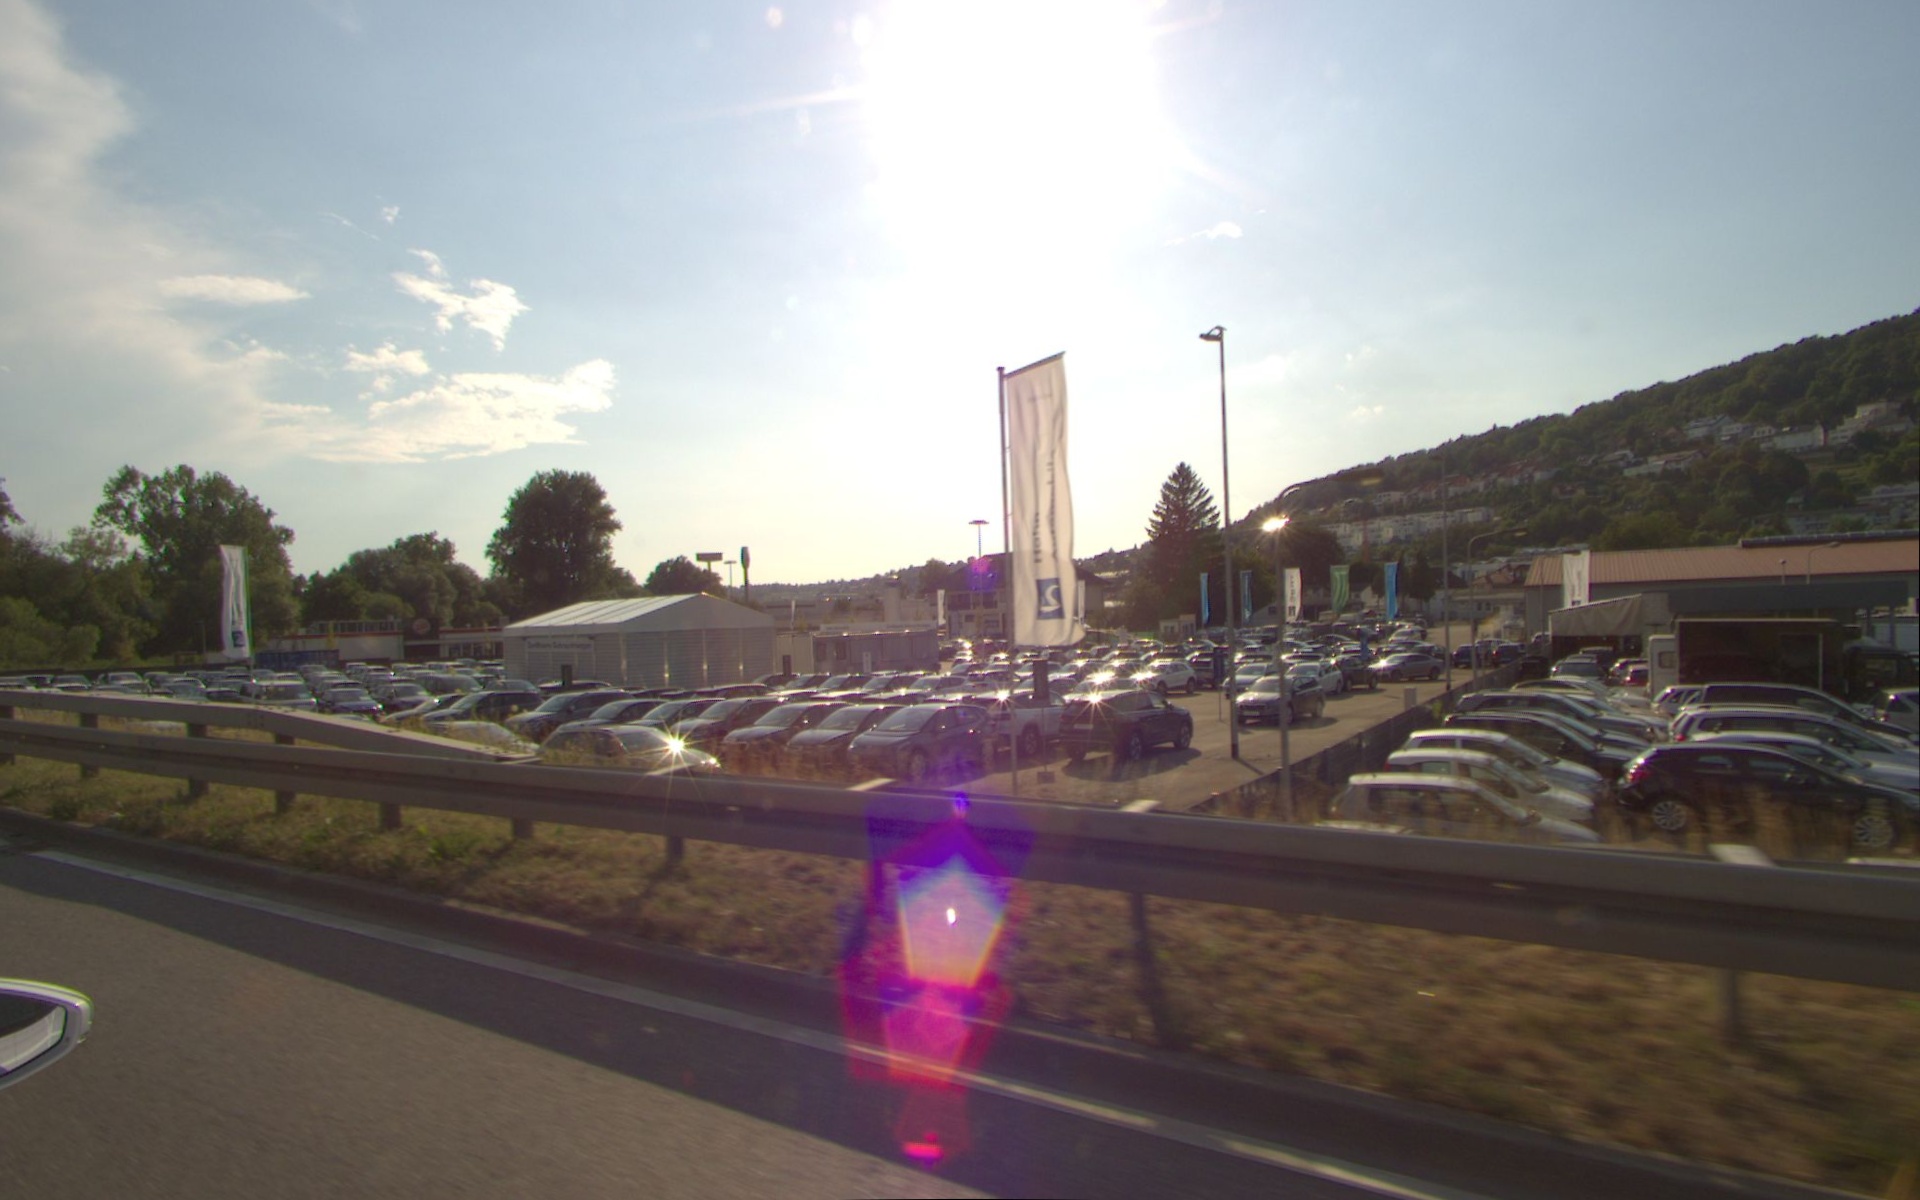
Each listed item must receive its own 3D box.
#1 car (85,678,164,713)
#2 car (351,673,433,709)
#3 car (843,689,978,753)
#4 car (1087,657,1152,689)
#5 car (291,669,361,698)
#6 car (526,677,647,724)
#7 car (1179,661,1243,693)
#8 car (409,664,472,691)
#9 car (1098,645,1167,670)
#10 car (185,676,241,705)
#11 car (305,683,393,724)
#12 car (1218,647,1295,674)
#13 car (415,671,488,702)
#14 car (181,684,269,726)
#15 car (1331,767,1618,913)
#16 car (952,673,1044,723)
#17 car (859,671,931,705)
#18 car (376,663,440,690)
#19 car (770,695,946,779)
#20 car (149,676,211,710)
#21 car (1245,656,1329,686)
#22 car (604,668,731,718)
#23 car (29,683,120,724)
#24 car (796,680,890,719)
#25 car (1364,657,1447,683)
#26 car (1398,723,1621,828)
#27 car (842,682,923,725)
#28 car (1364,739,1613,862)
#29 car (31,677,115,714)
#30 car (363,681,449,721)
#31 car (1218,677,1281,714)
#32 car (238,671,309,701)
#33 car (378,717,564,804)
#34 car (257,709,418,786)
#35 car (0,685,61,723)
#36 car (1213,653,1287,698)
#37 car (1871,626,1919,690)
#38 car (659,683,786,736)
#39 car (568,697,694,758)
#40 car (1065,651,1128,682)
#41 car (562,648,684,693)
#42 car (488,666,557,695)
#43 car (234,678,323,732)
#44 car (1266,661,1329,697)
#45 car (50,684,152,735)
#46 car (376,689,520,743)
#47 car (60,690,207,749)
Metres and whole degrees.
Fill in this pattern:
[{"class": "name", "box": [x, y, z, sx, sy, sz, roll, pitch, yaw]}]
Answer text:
[{"class": "car", "box": [-43.973, 4.983, 52.669, 4.664, 1.656, 1.876, -3, -3, 33]}, {"class": "car", "box": [-28.544, 4.517, 50.316, 4.670, 1.656, 1.874, -3, -3, 37]}, {"class": "car", "box": [-1.490, 3.775, 31.852, 1.863, 1.656, 4.409, -3, -3, 38]}, {"class": "car", "box": [8.939, 4.059, 55.894, 1.738, 1.661, 3.932, -3, -3, 42]}, {"class": "car", "box": [-38.659, 5.051, 61.001, 4.665, 1.656, 1.876, -3, -3, 34]}, {"class": "car", "box": [-15.446, 4.128, 41.600, 1.863, 1.656, 4.409, -3, -3, 38]}, {"class": "car", "box": [13.361, 4.047, 53.126, 1.809, 1.521, 3.973, -3, -3, 38]}, {"class": "car", "box": [-34.347, 5.096, 66.166, 4.669, 1.656, 1.874, -3, -3, 36]}, {"class": "car", "box": [11.969, 4.002, 69.628, 4.355, 1.656, 1.886, -1, -2, -8]}, {"class": "car", "box": [-47.543, 5.727, 63.691, 3.949, 1.705, 1.770, -3, -3, 36]}, {"class": "car", "box": [-25.951, 4.342, 42.455, 4.677, 1.541, 1.871, -3, -3, 41]}, {"class": "car", "box": [19.012, 3.866, 64.274, 4.355, 1.656, 1.886, -1, -2, -8]}, {"class": "car", "box": [-29.314, 4.945, 57.670, 4.669, 1.656, 1.874, -3, -3, 36]}, {"class": "car", "box": [-32.764, 4.652, 44.607, 4.670, 1.656, 1.874, -3, -3, 37]}, {"class": "car", "box": [7.592, 3.485, 15.019, 3.611, 1.631, 1.597, -2, -3, 28]}, {"class": "car", "box": [1.739, 4.377, 45.457, 3.961, 2.039, 1.982, 2, -3, -44]}, {"class": "car", "box": [-3.289, 4.443, 51.001, 1.613, 1.593, 3.455, -3, -3, 45]}, {"class": "car", "box": [-35.811, 4.966, 64.954, 4.669, 1.656, 1.874, -3, -3, 36]}, {"class": "car", "box": [-2.446, 3.319, 24.990, 1.863, 1.656, 4.409, -3, -3, 38]}, {"class": "car", "box": [-42.527, 5.048, 54.587, 3.951, 1.705, 1.769, -3, -3, 38]}, {"class": "car", "box": [19.359, 4.201, 59.395, 4.355, 1.656, 1.886, -1, -2, -8]}, {"class": "car", "box": [-11.086, 3.494, 38.138, 1.863, 1.656, 4.409, -3, -3, 38]}, {"class": "car", "box": [-39.542, 4.578, 44.672, 4.664, 1.656, 1.876, -3, -3, 33]}, {"class": "car", "box": [-5.162, 4.392, 44.618, 1.762, 1.474, 3.966, -3, -3, 43]}, {"class": "car", "box": [23.969, 3.754, 53.875, 3.928, 1.304, 1.620, 0, -2, -15]}, {"class": "car", "box": [10.618, 3.308, 19.438, 3.620, 1.631, 1.593, -3, -3, 36]}, {"class": "car", "box": [-3.314, 4.429, 43.228, 1.609, 1.593, 3.463, -3, -3, 38]}, {"class": "car", "box": [9.093, 3.359, 17.329, 3.620, 1.631, 1.593, -3, -3, 36]}, {"class": "car", "box": [-44.679, 4.778, 50.425, 4.599, 1.737, 1.833, -2, -3, 30]}, {"class": "car", "box": [-24.495, 4.426, 44.203, 4.677, 1.541, 1.871, -3, -3, 41]}, {"class": "car", "box": [14.881, 4.856, 51.434, 1.736, 1.661, 3.938, -3, -3, 38]}, {"class": "car", "box": [-39.917, 4.975, 58.200, 4.667, 1.656, 1.875, -3, -3, 35]}, {"class": "car", "box": [-11.328, 3.624, 23.135, 4.246, 1.646, 1.736, -2, -3, 28]}, {"class": "car", "box": [-15.888, 3.683, 25.519, 4.249, 1.646, 1.735, -2, -3, 31]}, {"class": "car", "box": [-45.642, 4.992, 48.337, 4.660, 1.671, 1.997, -2, -3, 30]}, {"class": "car", "box": [13.274, 3.417, 45.767, 1.903, 1.883, 3.973, -3, -3, 38]}, {"class": "car", "box": [38.813, 2.219, 38.525, 5.260, 2.468, 1.988, -3, -3, 36]}, {"class": "car", "box": [-8.743, 4.015, 37.156, 1.863, 1.656, 4.409, -3, -3, 38]}, {"class": "car", "box": [-10.270, 3.937, 31.431, 1.609, 1.593, 3.463, -3, -3, 38]}, {"class": "car", "box": [8.045, 3.882, 58.757, 1.738, 1.661, 3.932, -3, -3, 42]}, {"class": "car", "box": [-13.484, 2.787, 40.264, 1.863, 1.656, 4.409, -3, -3, 38]}, {"class": "car", "box": [-26.998, 4.939, 61.731, 4.515, 1.656, 1.874, -3, -3, 36]}, {"class": "car", "box": [-27.765, 4.220, 40.737, 4.677, 1.955, 1.871, -3, -3, 41]}, {"class": "car", "box": [17.034, 3.929, 50.457, 1.736, 1.661, 3.938, -3, -3, 38]}, {"class": "car", "box": [-32.029, 4.025, 37.302, 4.669, 1.646, 1.874, -3, -3, 36]}, {"class": "car", "box": [-18.819, 4.230, 36.965, 1.863, 1.656, 4.409, -3, -3, 38]}, {"class": "car", "box": [-26.125, 3.729, 31.637, 4.655, 1.646, 1.880, -2, -3, 27]}]
